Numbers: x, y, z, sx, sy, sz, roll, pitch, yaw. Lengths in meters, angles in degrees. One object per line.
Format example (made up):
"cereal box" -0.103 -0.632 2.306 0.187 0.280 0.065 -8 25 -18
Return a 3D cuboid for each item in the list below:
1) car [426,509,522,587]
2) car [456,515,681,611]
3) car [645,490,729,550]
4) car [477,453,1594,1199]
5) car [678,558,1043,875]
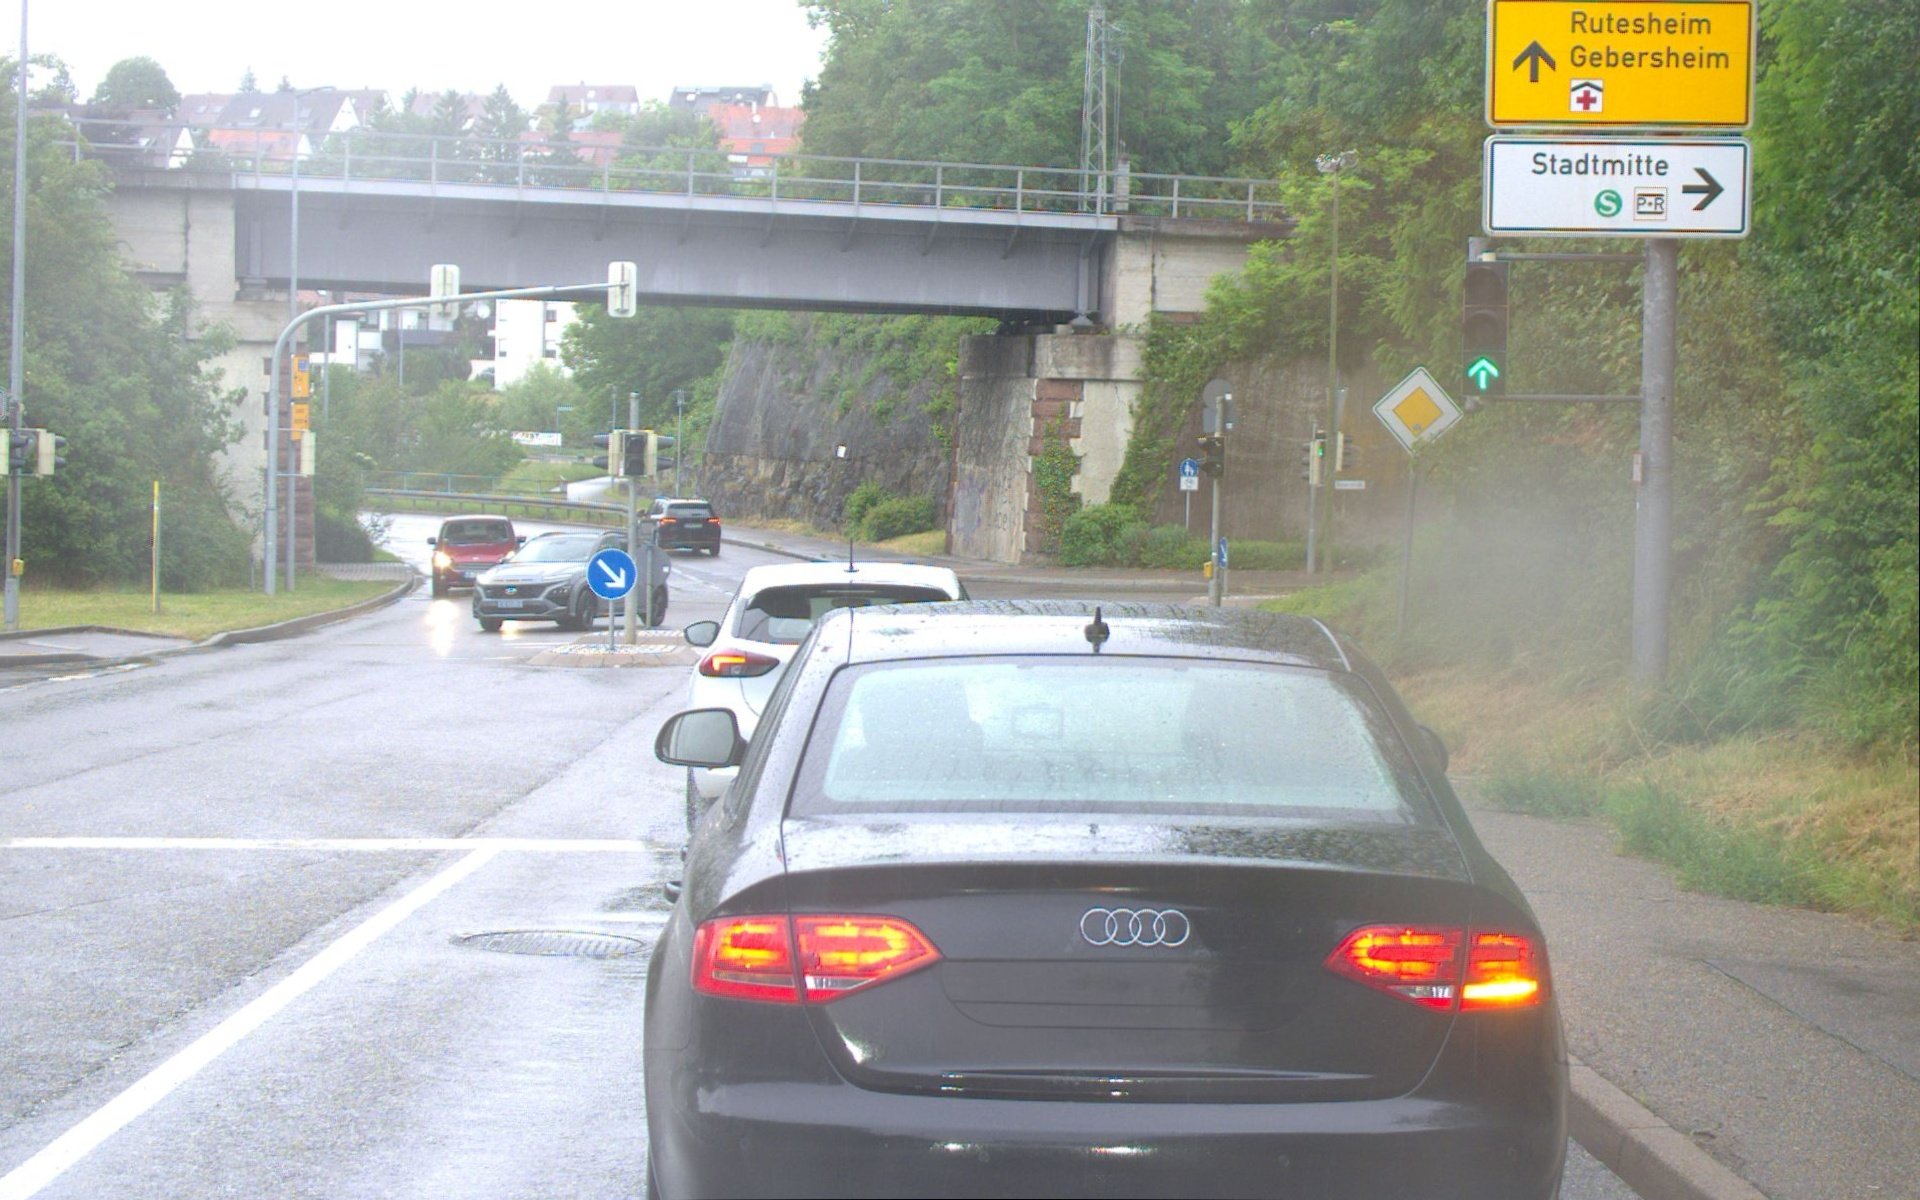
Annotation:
"car" -10.481 -1.134 74.319 1.993 1.622 4.001 0 1 -7
"car" -6.191 -0.606 54.789 1.641 1.465 3.994 1 1 27
"car" -7.657 -2.254 96.255 1.993 1.590 4.002 -1 2 -10
"car" 0.101 0.569 7.775 1.870 1.611 4.000 0 0 -1
"car" -0.525 0.588 19.243 1.823 1.579 4.000 0 0 -1
